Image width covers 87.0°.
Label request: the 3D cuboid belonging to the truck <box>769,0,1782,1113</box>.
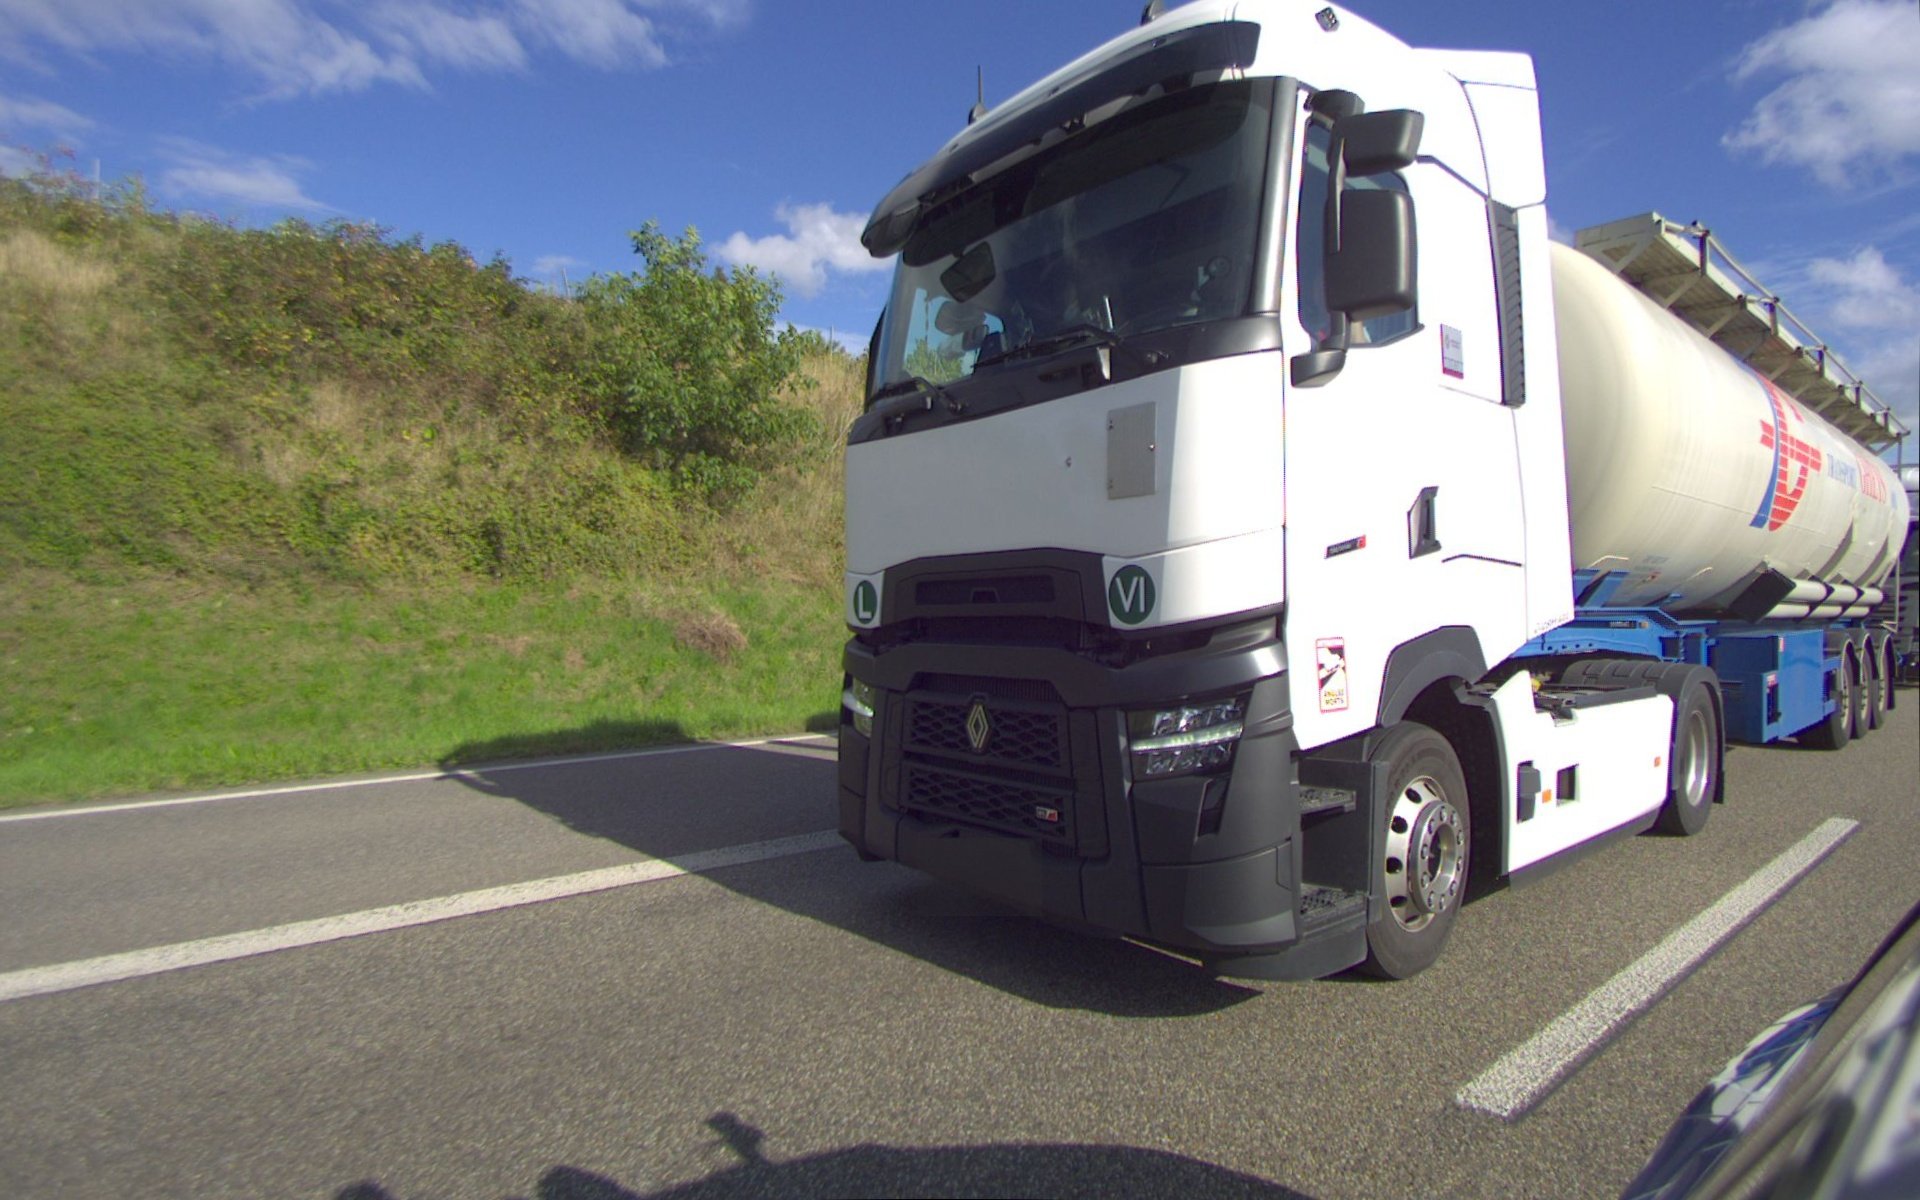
[{"bbox_3d":[2.512,-0.568,6.091,6.820,3.974,2.653,0,0,-41],"label":"truck"}]

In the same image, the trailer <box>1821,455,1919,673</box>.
[{"bbox_3d":[23.043,-0.679,23.607,14.047,4.047,2.333,0,1,-41],"label":"trailer"}]

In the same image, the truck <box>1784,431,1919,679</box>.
[{"bbox_3d":[17.698,-0.734,19.005,5.998,4.071,2.369,1,0,-40],"label":"truck"}]

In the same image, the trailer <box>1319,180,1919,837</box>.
[{"bbox_3d":[7.885,-0.629,10.781,10.981,3.984,2.650,-1,0,-41],"label":"trailer"}]
